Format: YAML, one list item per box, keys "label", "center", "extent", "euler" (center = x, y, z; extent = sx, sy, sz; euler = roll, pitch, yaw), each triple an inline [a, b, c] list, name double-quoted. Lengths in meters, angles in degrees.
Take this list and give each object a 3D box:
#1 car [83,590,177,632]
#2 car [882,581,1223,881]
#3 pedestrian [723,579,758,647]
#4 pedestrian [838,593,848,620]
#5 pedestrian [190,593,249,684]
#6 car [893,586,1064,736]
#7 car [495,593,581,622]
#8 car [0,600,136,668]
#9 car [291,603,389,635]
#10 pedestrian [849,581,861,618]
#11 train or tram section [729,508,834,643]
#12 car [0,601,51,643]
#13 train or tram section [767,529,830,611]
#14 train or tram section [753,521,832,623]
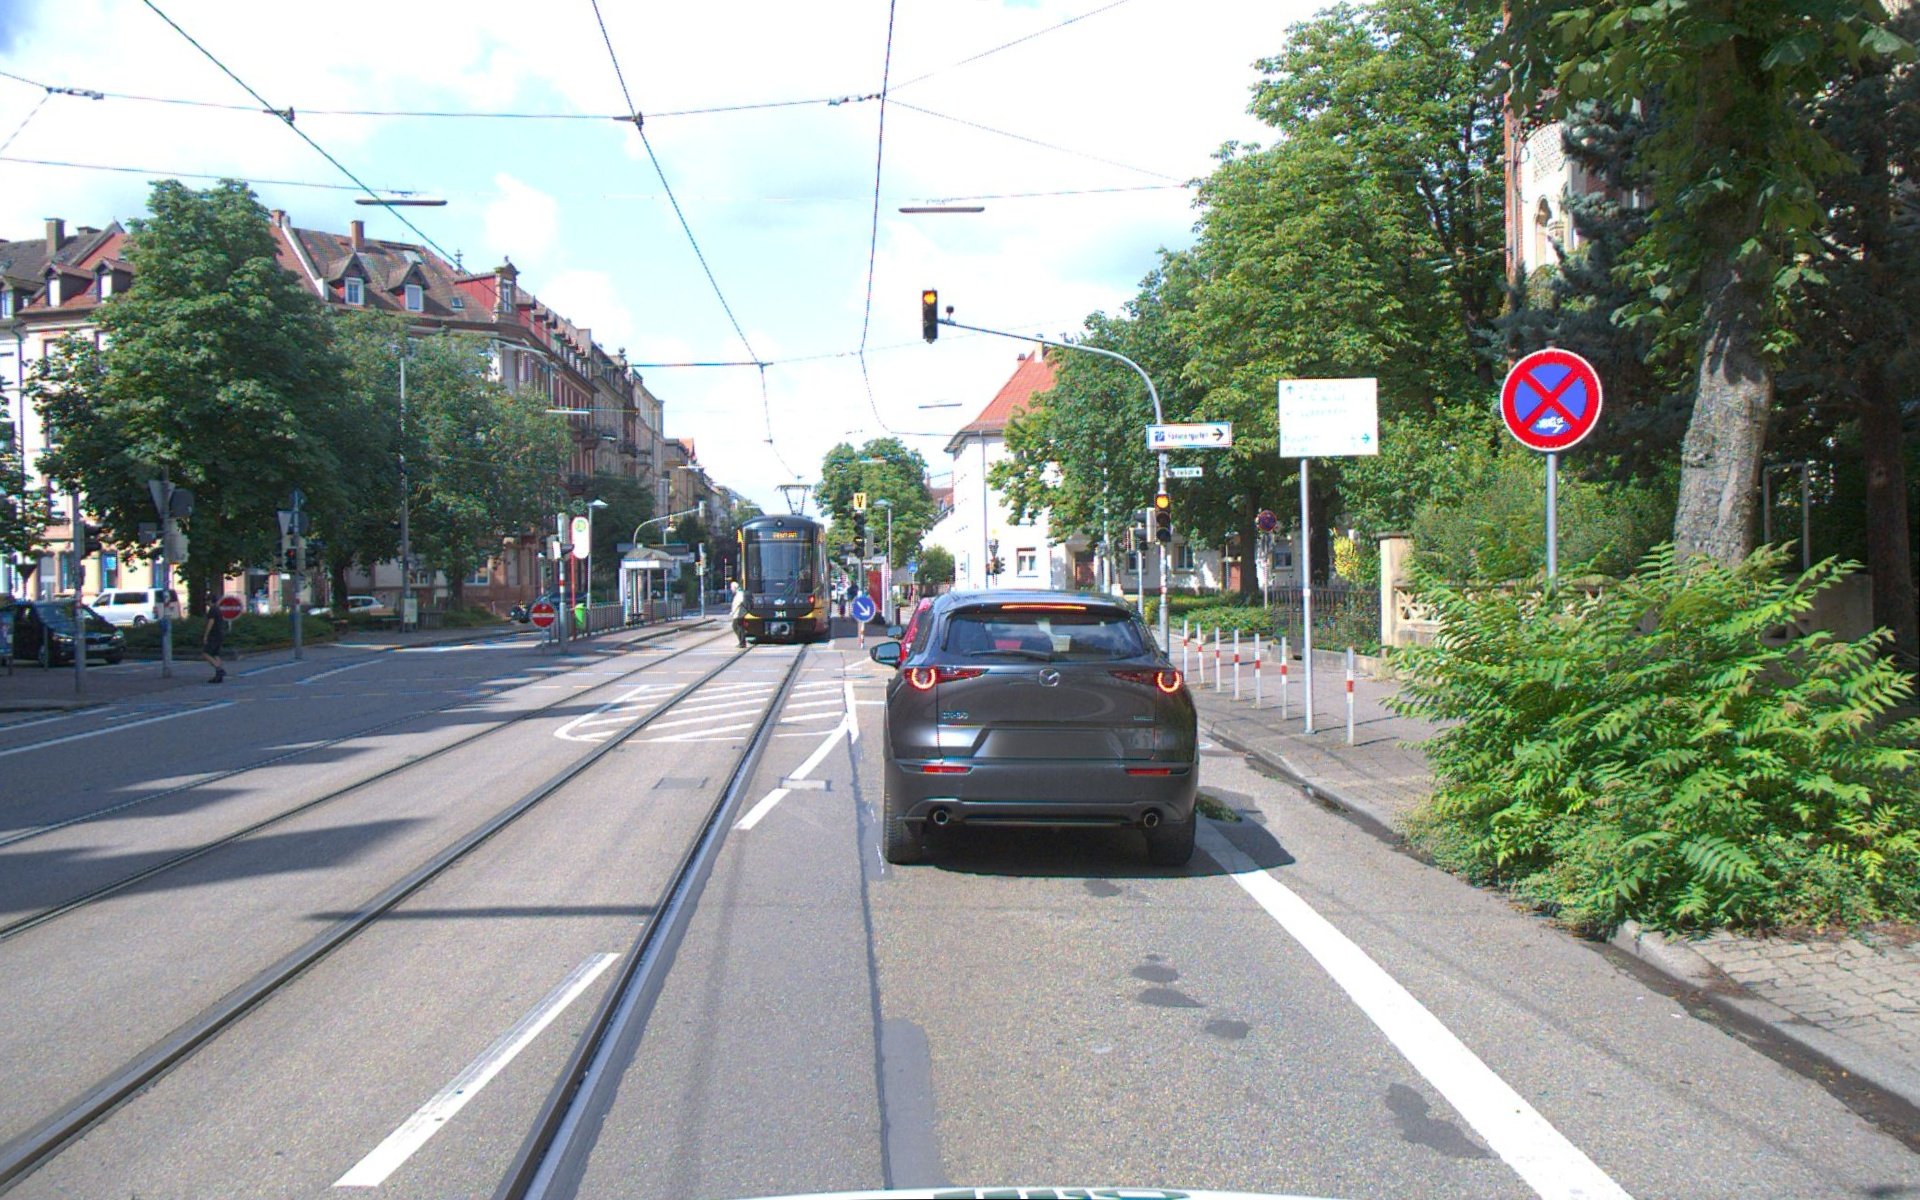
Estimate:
- label: "car"
  center: [-39.804, 0.548, 79.301]
  extent: [3.906, 1.937, 1.999]
  euler: [-1, 0, 24]
- label: "car"
  center: [0.441, 0.664, 10.557]
  extent: [1.742, 1.526, 3.999]
  euler: [1, 0, -1]
- label: "pedestrian"
  center: [-5.683, 0.320, 42.847]
  extent: [0.701, 1.735, 0.824]
  euler: [-1, 0, 6]
- label: "pedestrian"
  center: [-4.757, 0.245, 67.457]
  extent: [0.372, 1.089, 0.474]
  euler: [-1, 0, -4]
- label: "pedestrian"
  center: [-14.148, 0.724, 31.614]
  extent: [0.735, 1.713, 0.701]
  euler: [-1, 0, 8]
- label: "car"
  center: [0.155, 0.612, 19.159]
  extent: [1.742, 1.526, 3.999]
  euler: [1, 0, -1]
- label: "car"
  center: [-21.383, 0.358, 83.868]
  extent: [3.947, 1.384, 1.661]
  euler: [-1, 0, -31]
- label: "car"
  center: [-22.298, 0.826, 40.124]
  extent: [3.969, 1.545, 1.763]
  euler: [-1, 0, 16]
- label: "car"
  center: [-28.529, 0.853, 76.170]
  extent: [1.647, 1.384, 3.979]
  euler: [-1, 0, 40]
- label: "pedestrian"
  center: [-4.306, -0.022, 67.579]
  extent: [0.441, 1.459, 0.474]
  euler: [-1, 0, -6]
- label: "train or tram section"
  center: [-5.333, -0.822, 51.254]
  extent: [2.699, 3.551, 14.395]
  euler: [-1, 1, -5]
- label: "car"
  center: [-39.457, 0.908, 67.161]
  extent: [3.905, 1.624, 2.000]
  euler: [-1, 0, -1]
- label: "train or tram section"
  center: [-7.671, -1.512, 79.949]
  extent: [2.699, 3.551, 14.395]
  euler: [-1, 1, -5]
- label: "train or tram section"
  center: [-6.496, -1.162, 65.595]
  extent: [2.699, 3.551, 14.395]
  euler: [-1, 1, -5]
